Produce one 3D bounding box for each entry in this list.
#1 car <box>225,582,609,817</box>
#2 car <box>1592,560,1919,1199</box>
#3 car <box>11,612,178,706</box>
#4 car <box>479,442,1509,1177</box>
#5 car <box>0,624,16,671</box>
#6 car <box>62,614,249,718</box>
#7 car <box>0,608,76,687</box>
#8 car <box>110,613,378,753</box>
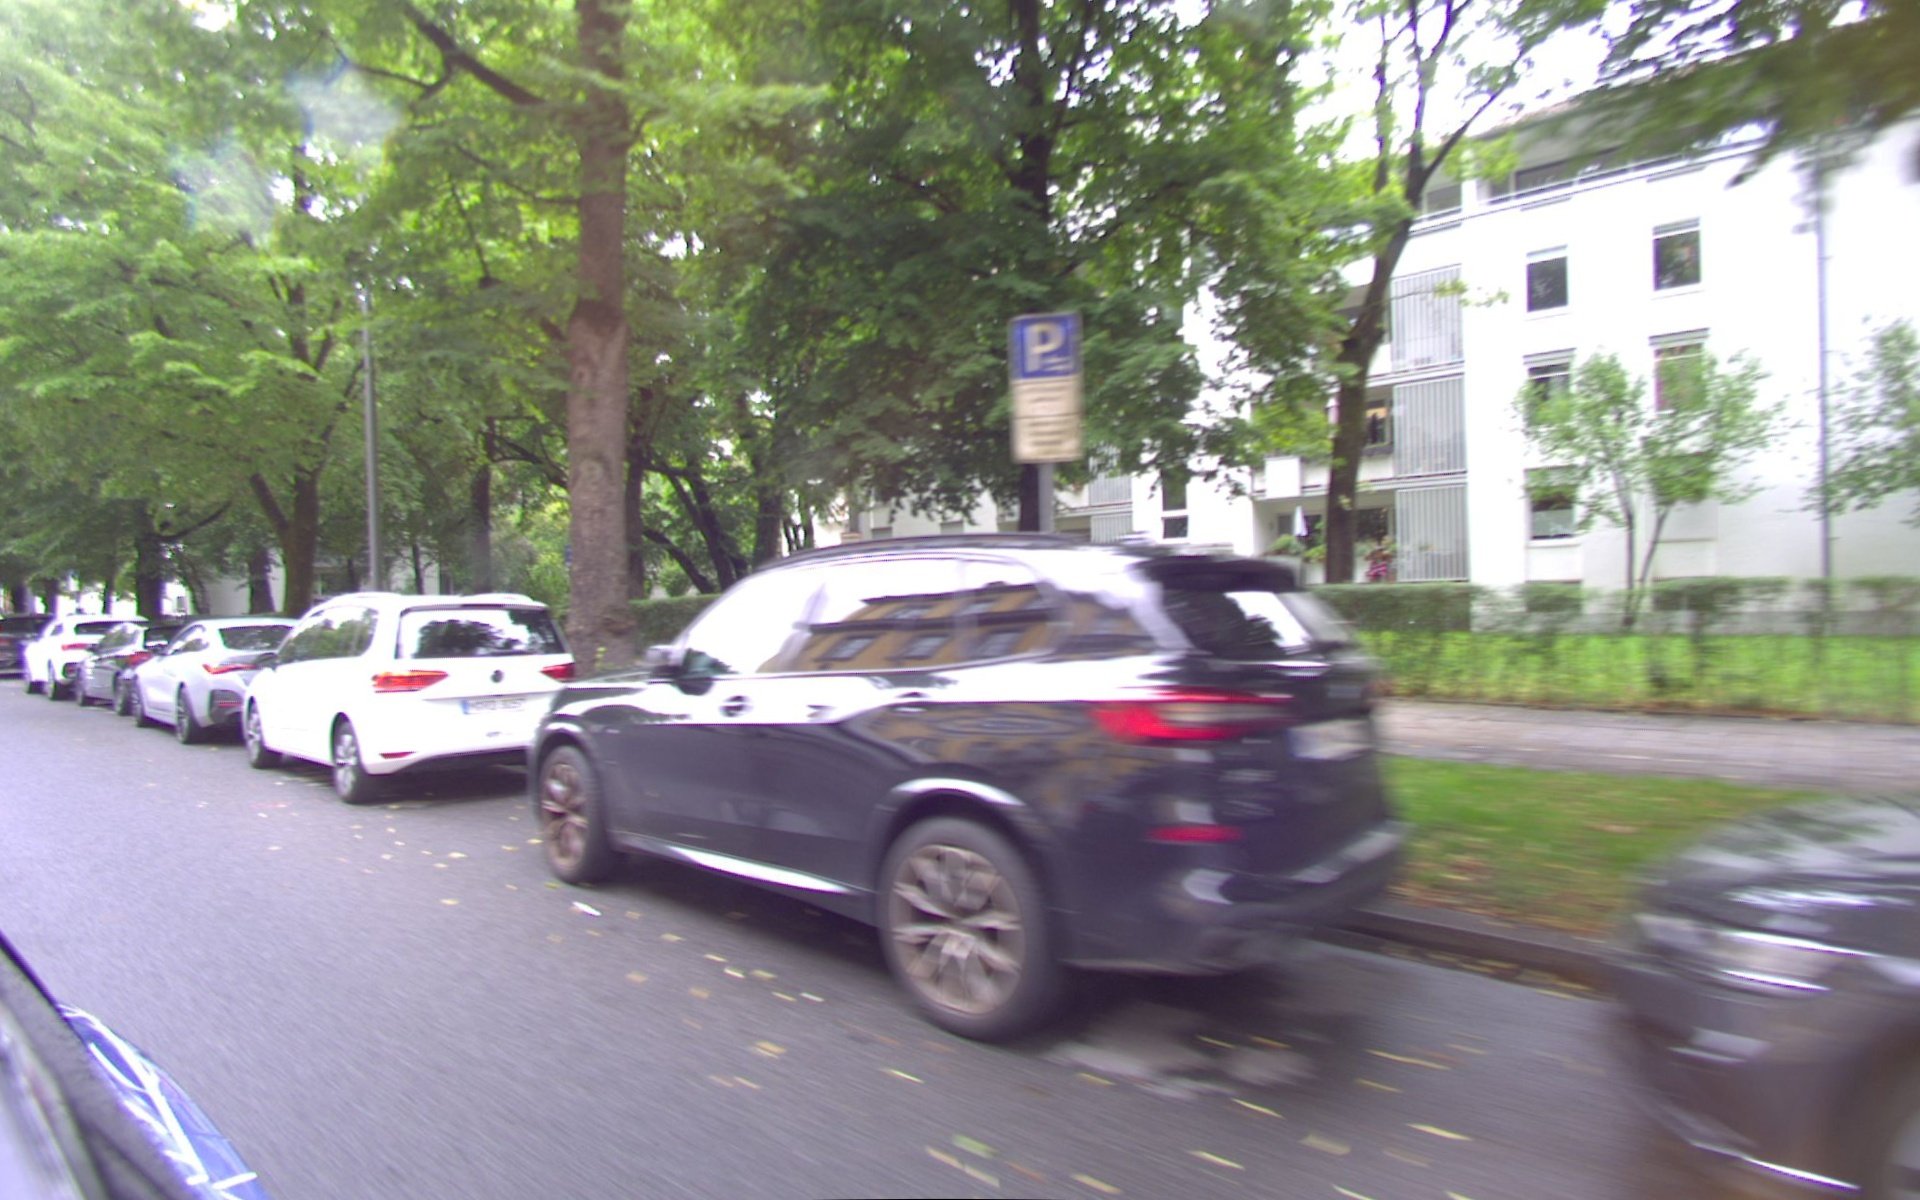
[{"bbox_3d":[-5.138,0.738,9.261,4.523,1.634,1.746,-1,-2,43],"label":"car"},{"bbox_3d":[3.710,0.617,1.285,4.695,1.462,1.700,-1,0,43],"label":"car"},{"bbox_3d":[-17.178,1.069,20.010,4.581,1.609,1.766,-1,0,40],"label":"car"},{"bbox_3d":[-0.321,0.550,4.912,4.920,1.810,1.972,-1,-1,43],"label":"car"},{"bbox_3d":[-31.668,1.535,32.508,4.553,1.449,1.770,-2,-1,44],"label":"car"},{"bbox_3d":[-13.454,1.003,16.847,4.101,1.480,1.655,-1,0,40],"label":"car"},{"bbox_3d":[-24.541,1.186,26.237,4.544,1.891,1.766,-1,-1,40],"label":"car"},{"bbox_3d":[-9.561,0.938,13.329,4.995,1.480,1.790,-1,0,42],"label":"car"}]
